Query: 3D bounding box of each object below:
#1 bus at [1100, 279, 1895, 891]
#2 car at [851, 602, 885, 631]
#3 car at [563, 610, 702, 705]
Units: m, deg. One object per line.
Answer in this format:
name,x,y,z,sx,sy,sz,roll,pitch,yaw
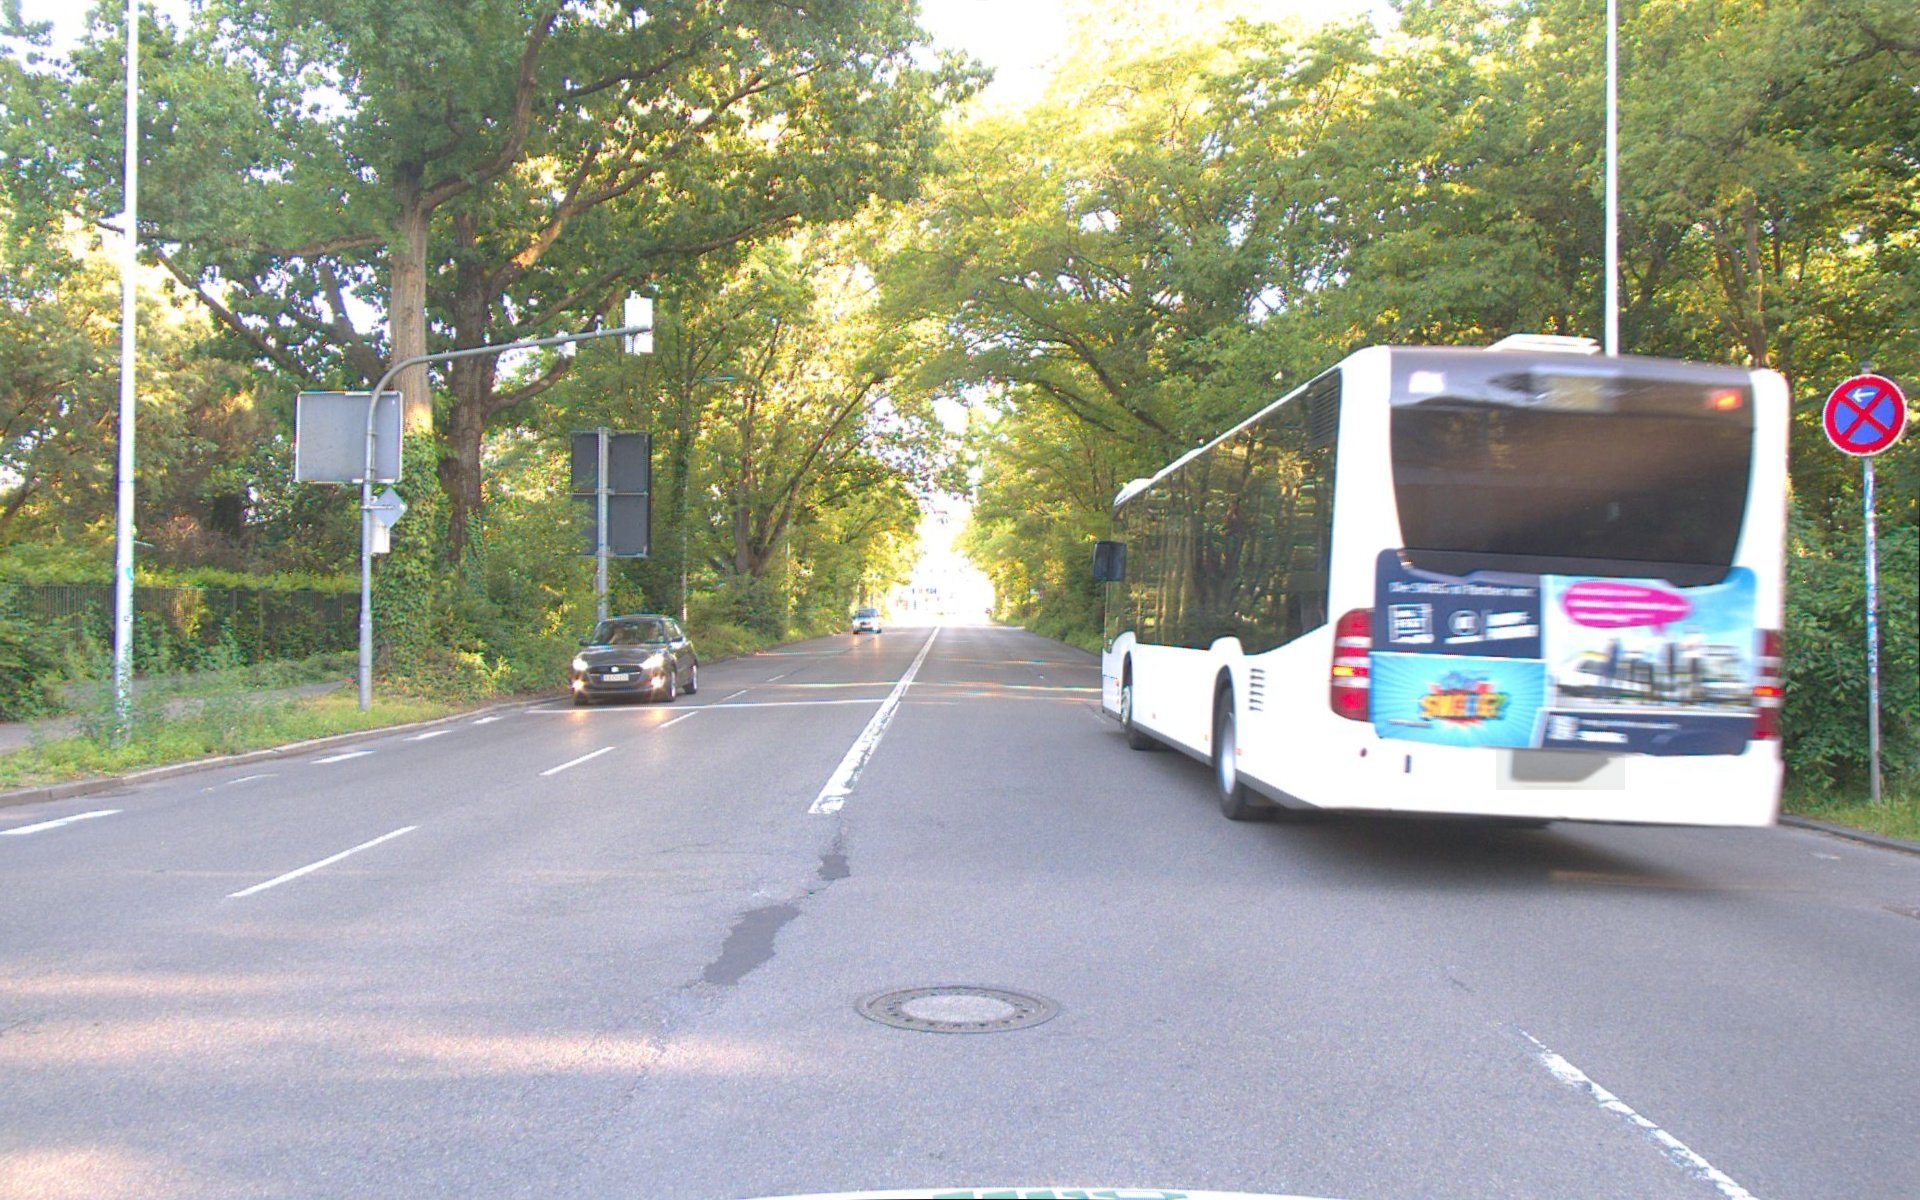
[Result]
bus,3.298,-0.055,14.666,2.950,3.141,12.268,0,0,-1
car,-5.451,0.967,98.560,1.770,1.607,4.318,-2,0,0
car,-5.622,0.947,28.812,1.673,1.478,3.639,-2,0,0
